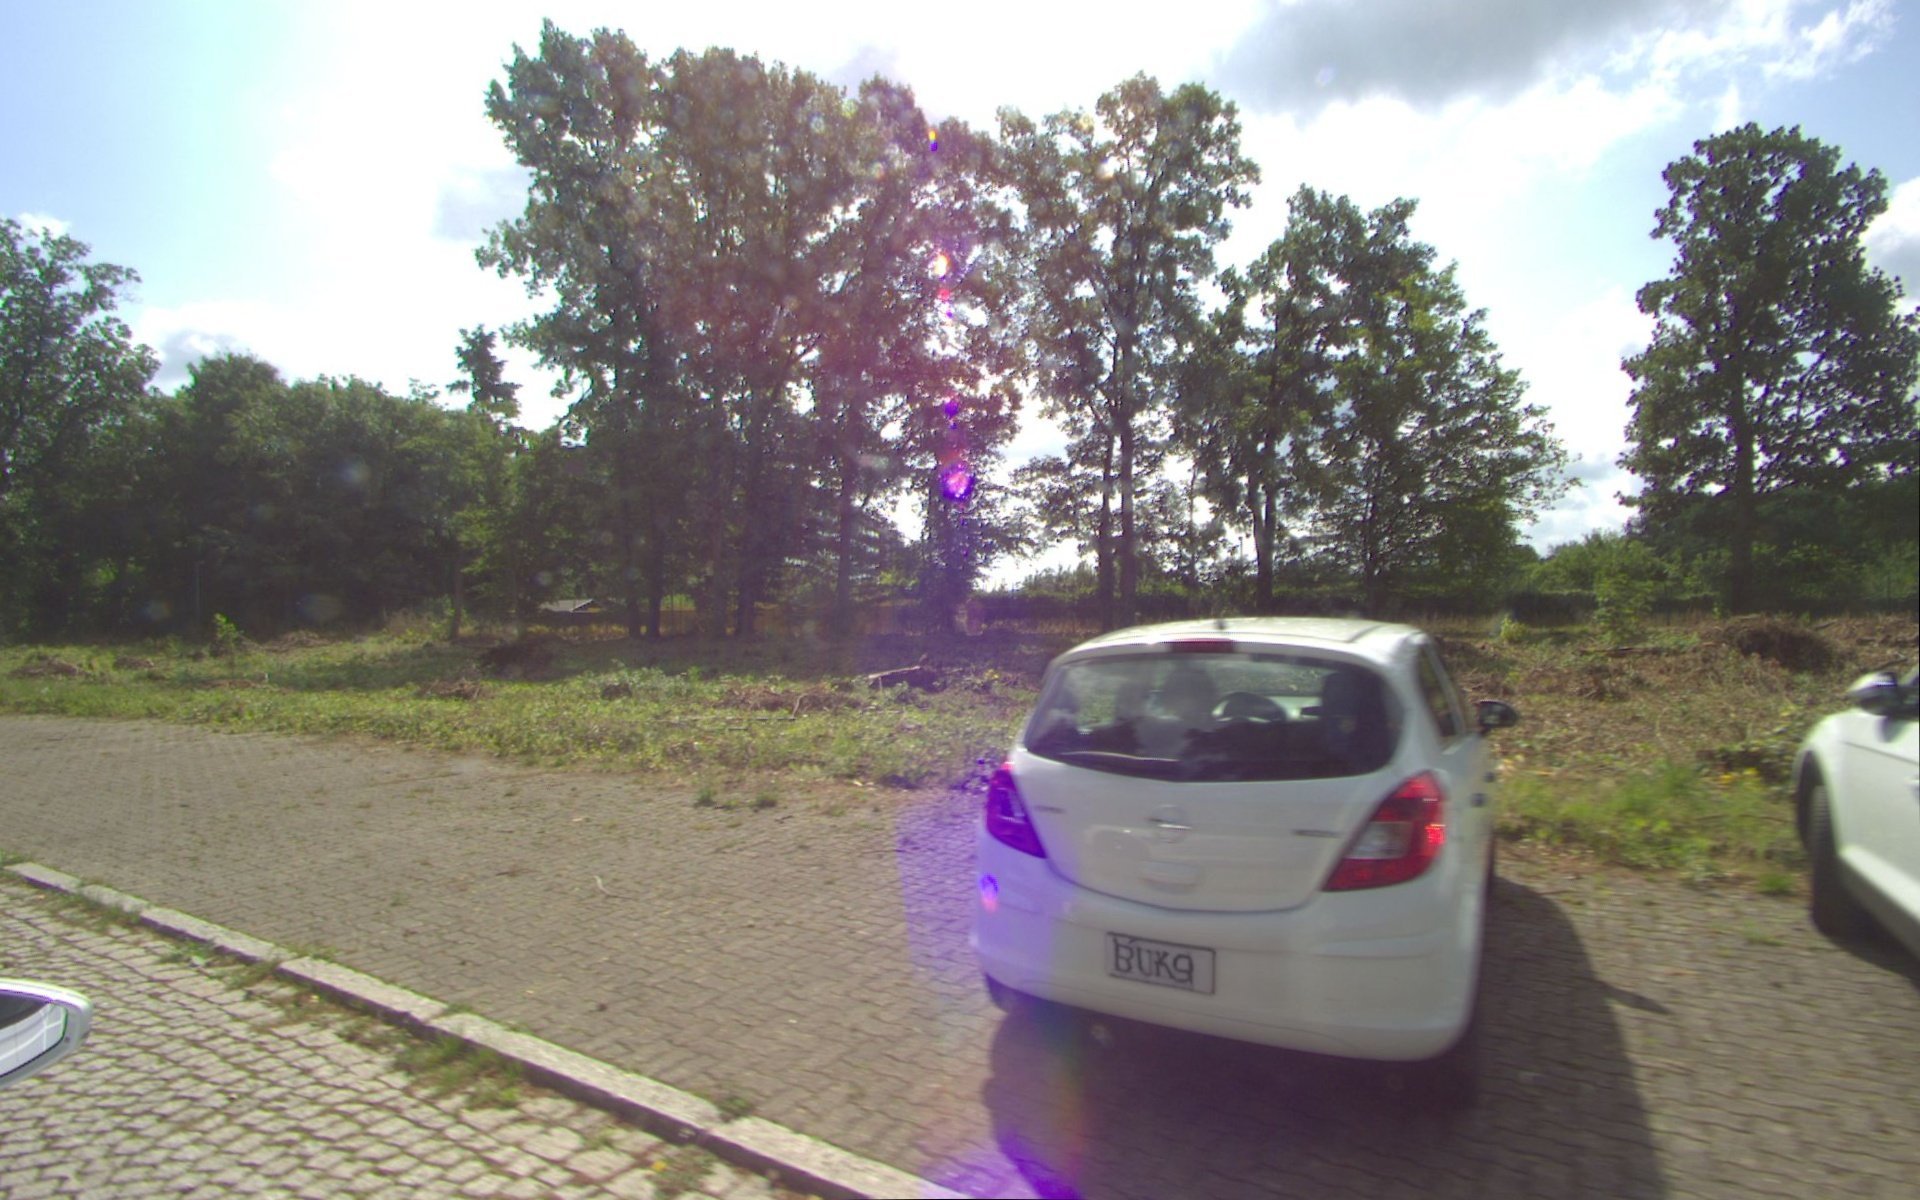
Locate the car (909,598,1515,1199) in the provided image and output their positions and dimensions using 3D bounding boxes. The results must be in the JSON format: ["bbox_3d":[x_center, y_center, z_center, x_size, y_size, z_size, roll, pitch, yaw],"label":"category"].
[{"bbox_3d":[1.568,0.776,4.613,1.679,1.483,4.036,-1,0,30],"label":"car"}]

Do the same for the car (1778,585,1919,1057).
[{"bbox_3d":[3.900,0.713,2.890,1.720,1.527,3.980,-1,0,30],"label":"car"}]
